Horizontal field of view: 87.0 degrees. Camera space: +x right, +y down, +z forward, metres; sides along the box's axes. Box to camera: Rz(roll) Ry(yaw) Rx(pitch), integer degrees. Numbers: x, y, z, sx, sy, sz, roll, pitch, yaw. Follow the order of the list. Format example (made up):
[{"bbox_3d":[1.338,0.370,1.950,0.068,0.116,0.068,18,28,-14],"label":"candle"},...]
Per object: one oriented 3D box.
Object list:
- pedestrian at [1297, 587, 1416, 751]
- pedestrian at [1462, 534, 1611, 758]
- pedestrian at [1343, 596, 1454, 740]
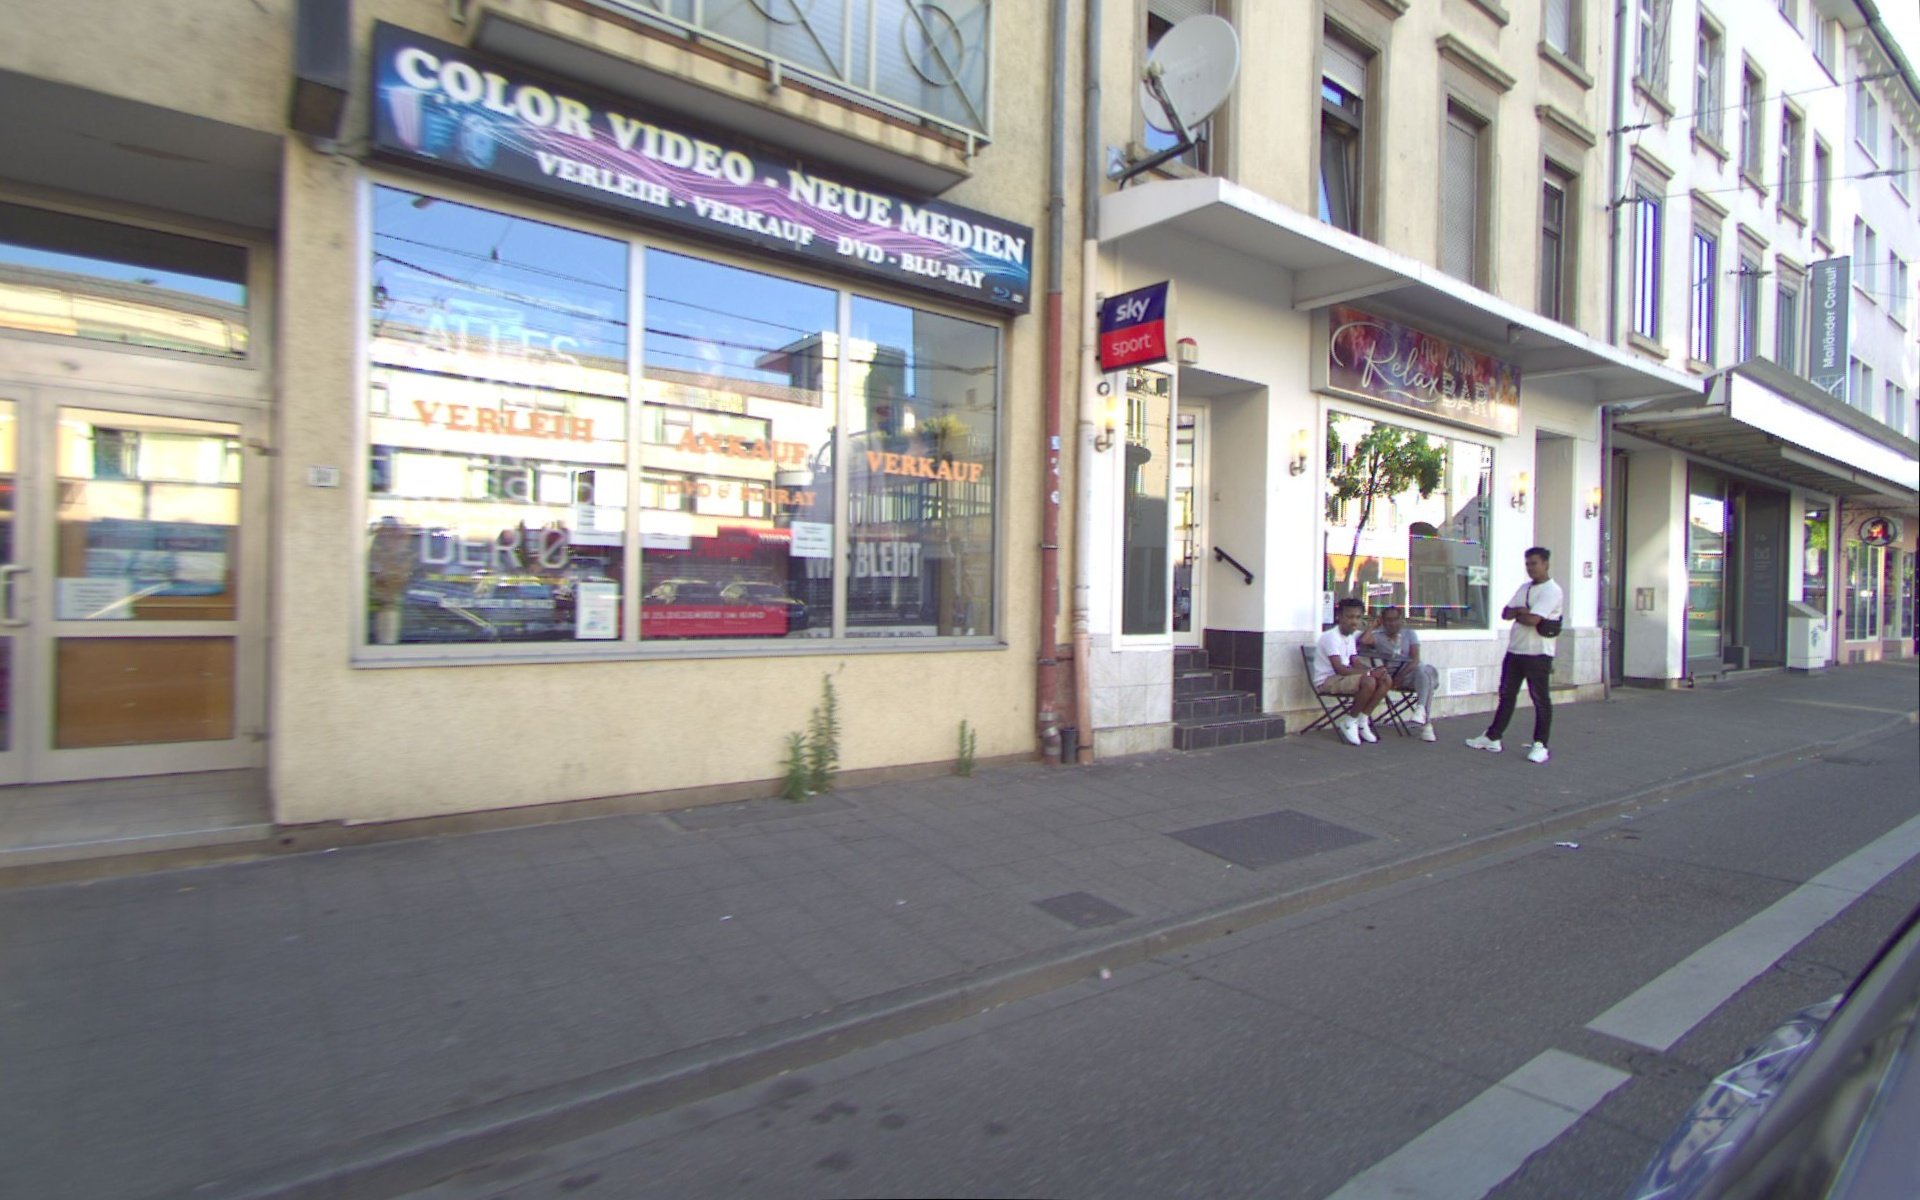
[{"bbox_3d":[3.429,0.568,8.826,0.820,1.270,0.703,5,4,18],"label":"pedestrian"},{"bbox_3d":[5.003,0.380,8.815,0.665,1.833,0.709,2,4,-22],"label":"pedestrian"},{"bbox_3d":[4.139,0.603,9.534,0.702,1.188,1.004,6,5,33],"label":"pedestrian"}]
